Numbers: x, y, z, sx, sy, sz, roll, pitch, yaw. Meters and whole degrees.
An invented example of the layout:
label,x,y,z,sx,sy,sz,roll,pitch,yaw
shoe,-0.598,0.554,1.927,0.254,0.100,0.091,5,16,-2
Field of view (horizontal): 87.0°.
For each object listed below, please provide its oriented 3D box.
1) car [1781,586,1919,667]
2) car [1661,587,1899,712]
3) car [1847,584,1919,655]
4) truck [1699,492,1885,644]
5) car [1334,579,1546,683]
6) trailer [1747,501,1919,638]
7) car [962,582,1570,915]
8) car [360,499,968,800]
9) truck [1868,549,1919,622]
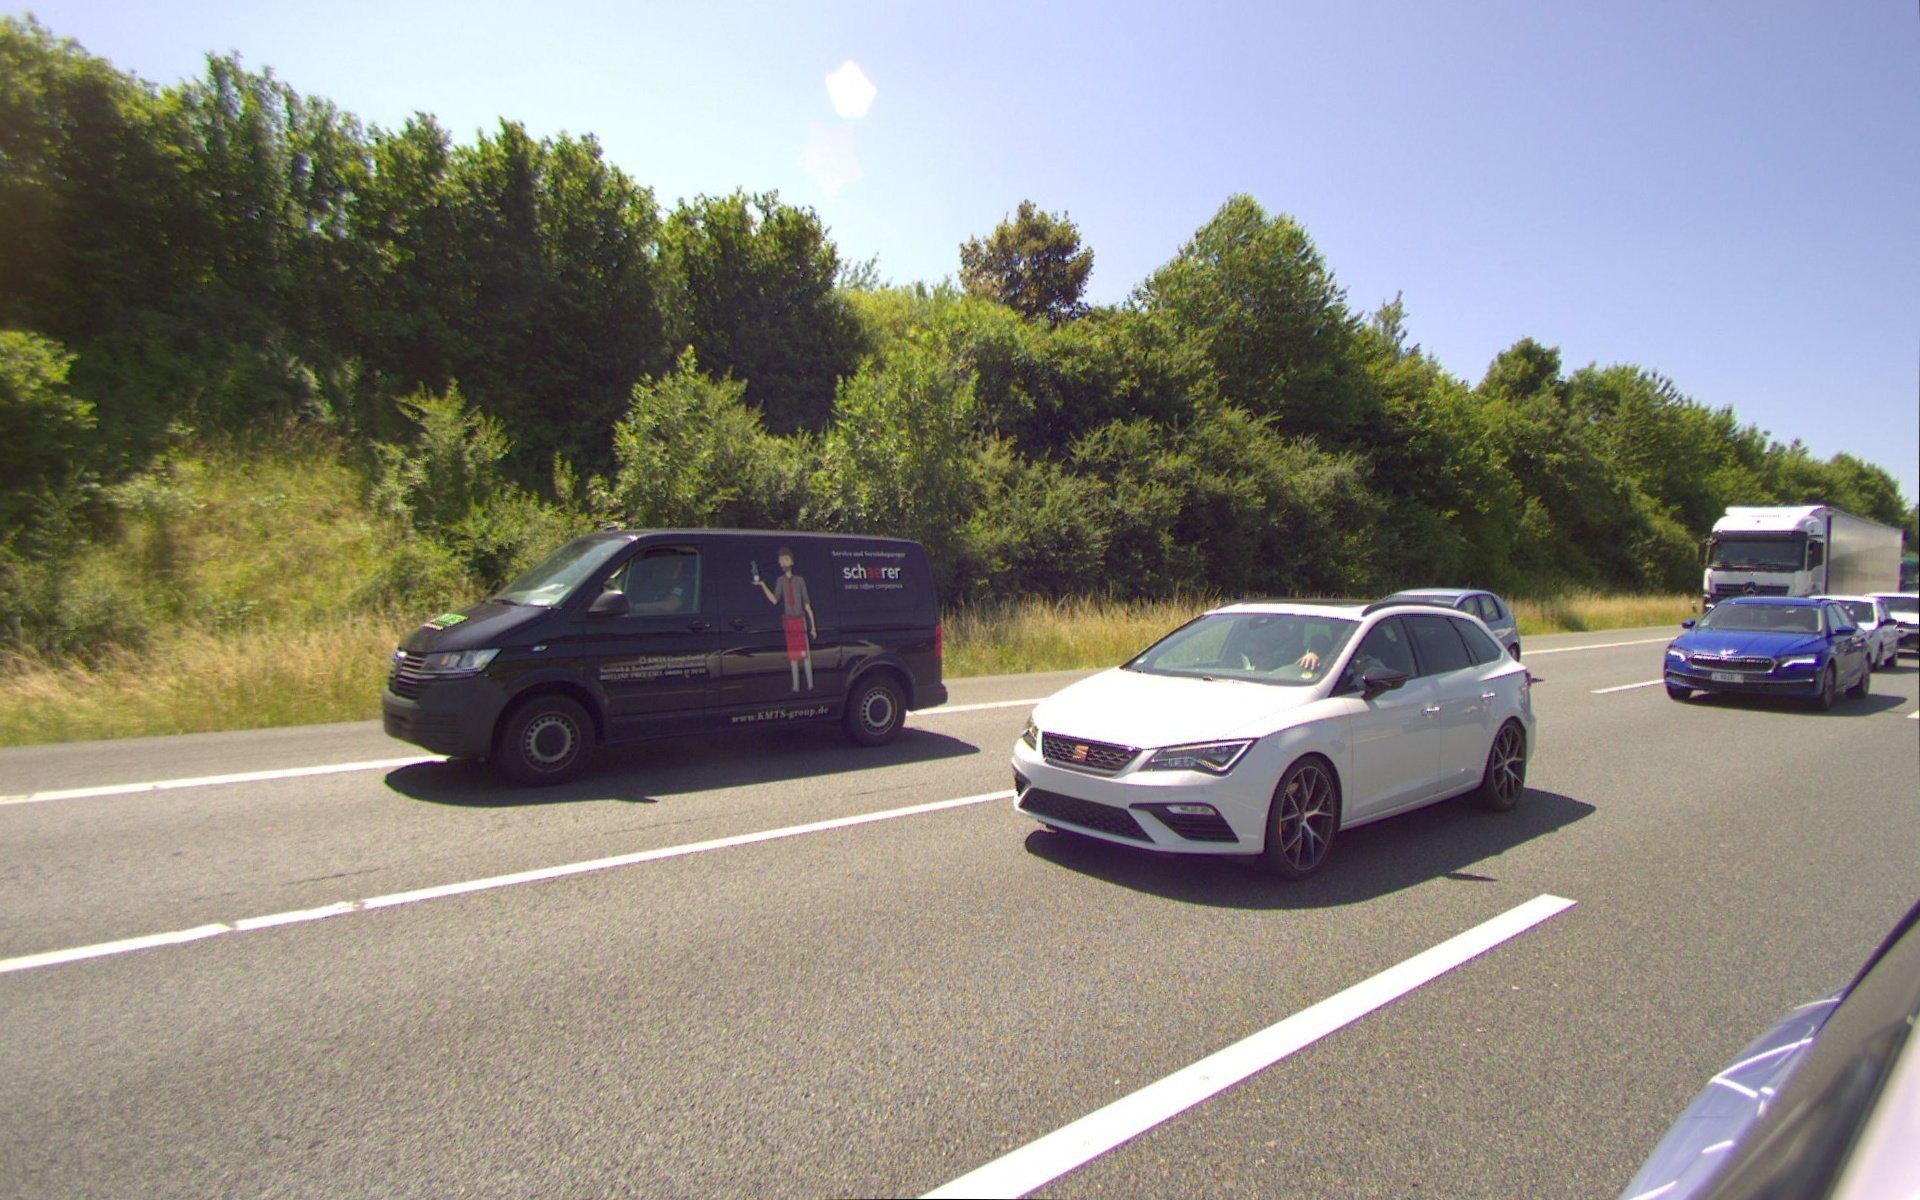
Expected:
label,x,y,z,sx,sy,sz,roll,pitch,yaw
car,18.556,0.483,20.976,3.741,1.451,1.609,-1,3,-39
car,11.807,0.574,14.469,4.491,1.434,1.780,-1,3,-40
car,23.399,0.441,24.911,3.816,1.577,1.748,-1,3,-40
truck,26.208,-0.953,31.720,8.322,4.208,2.880,-1,1,-39
car,7.995,0.430,16.730,3.852,1.479,1.666,0,2,-40
trailer,31.534,-1.017,36.059,11.858,4.208,2.880,-1,1,-39
car,2.190,0.631,6.589,4.237,1.461,1.751,-1,2,-40
car,-2.359,0.259,8.874,4.770,1.964,1.918,-1,2,-40
truck,43.967,-0.676,46.627,5.573,3.185,2.300,-1,1,-39
